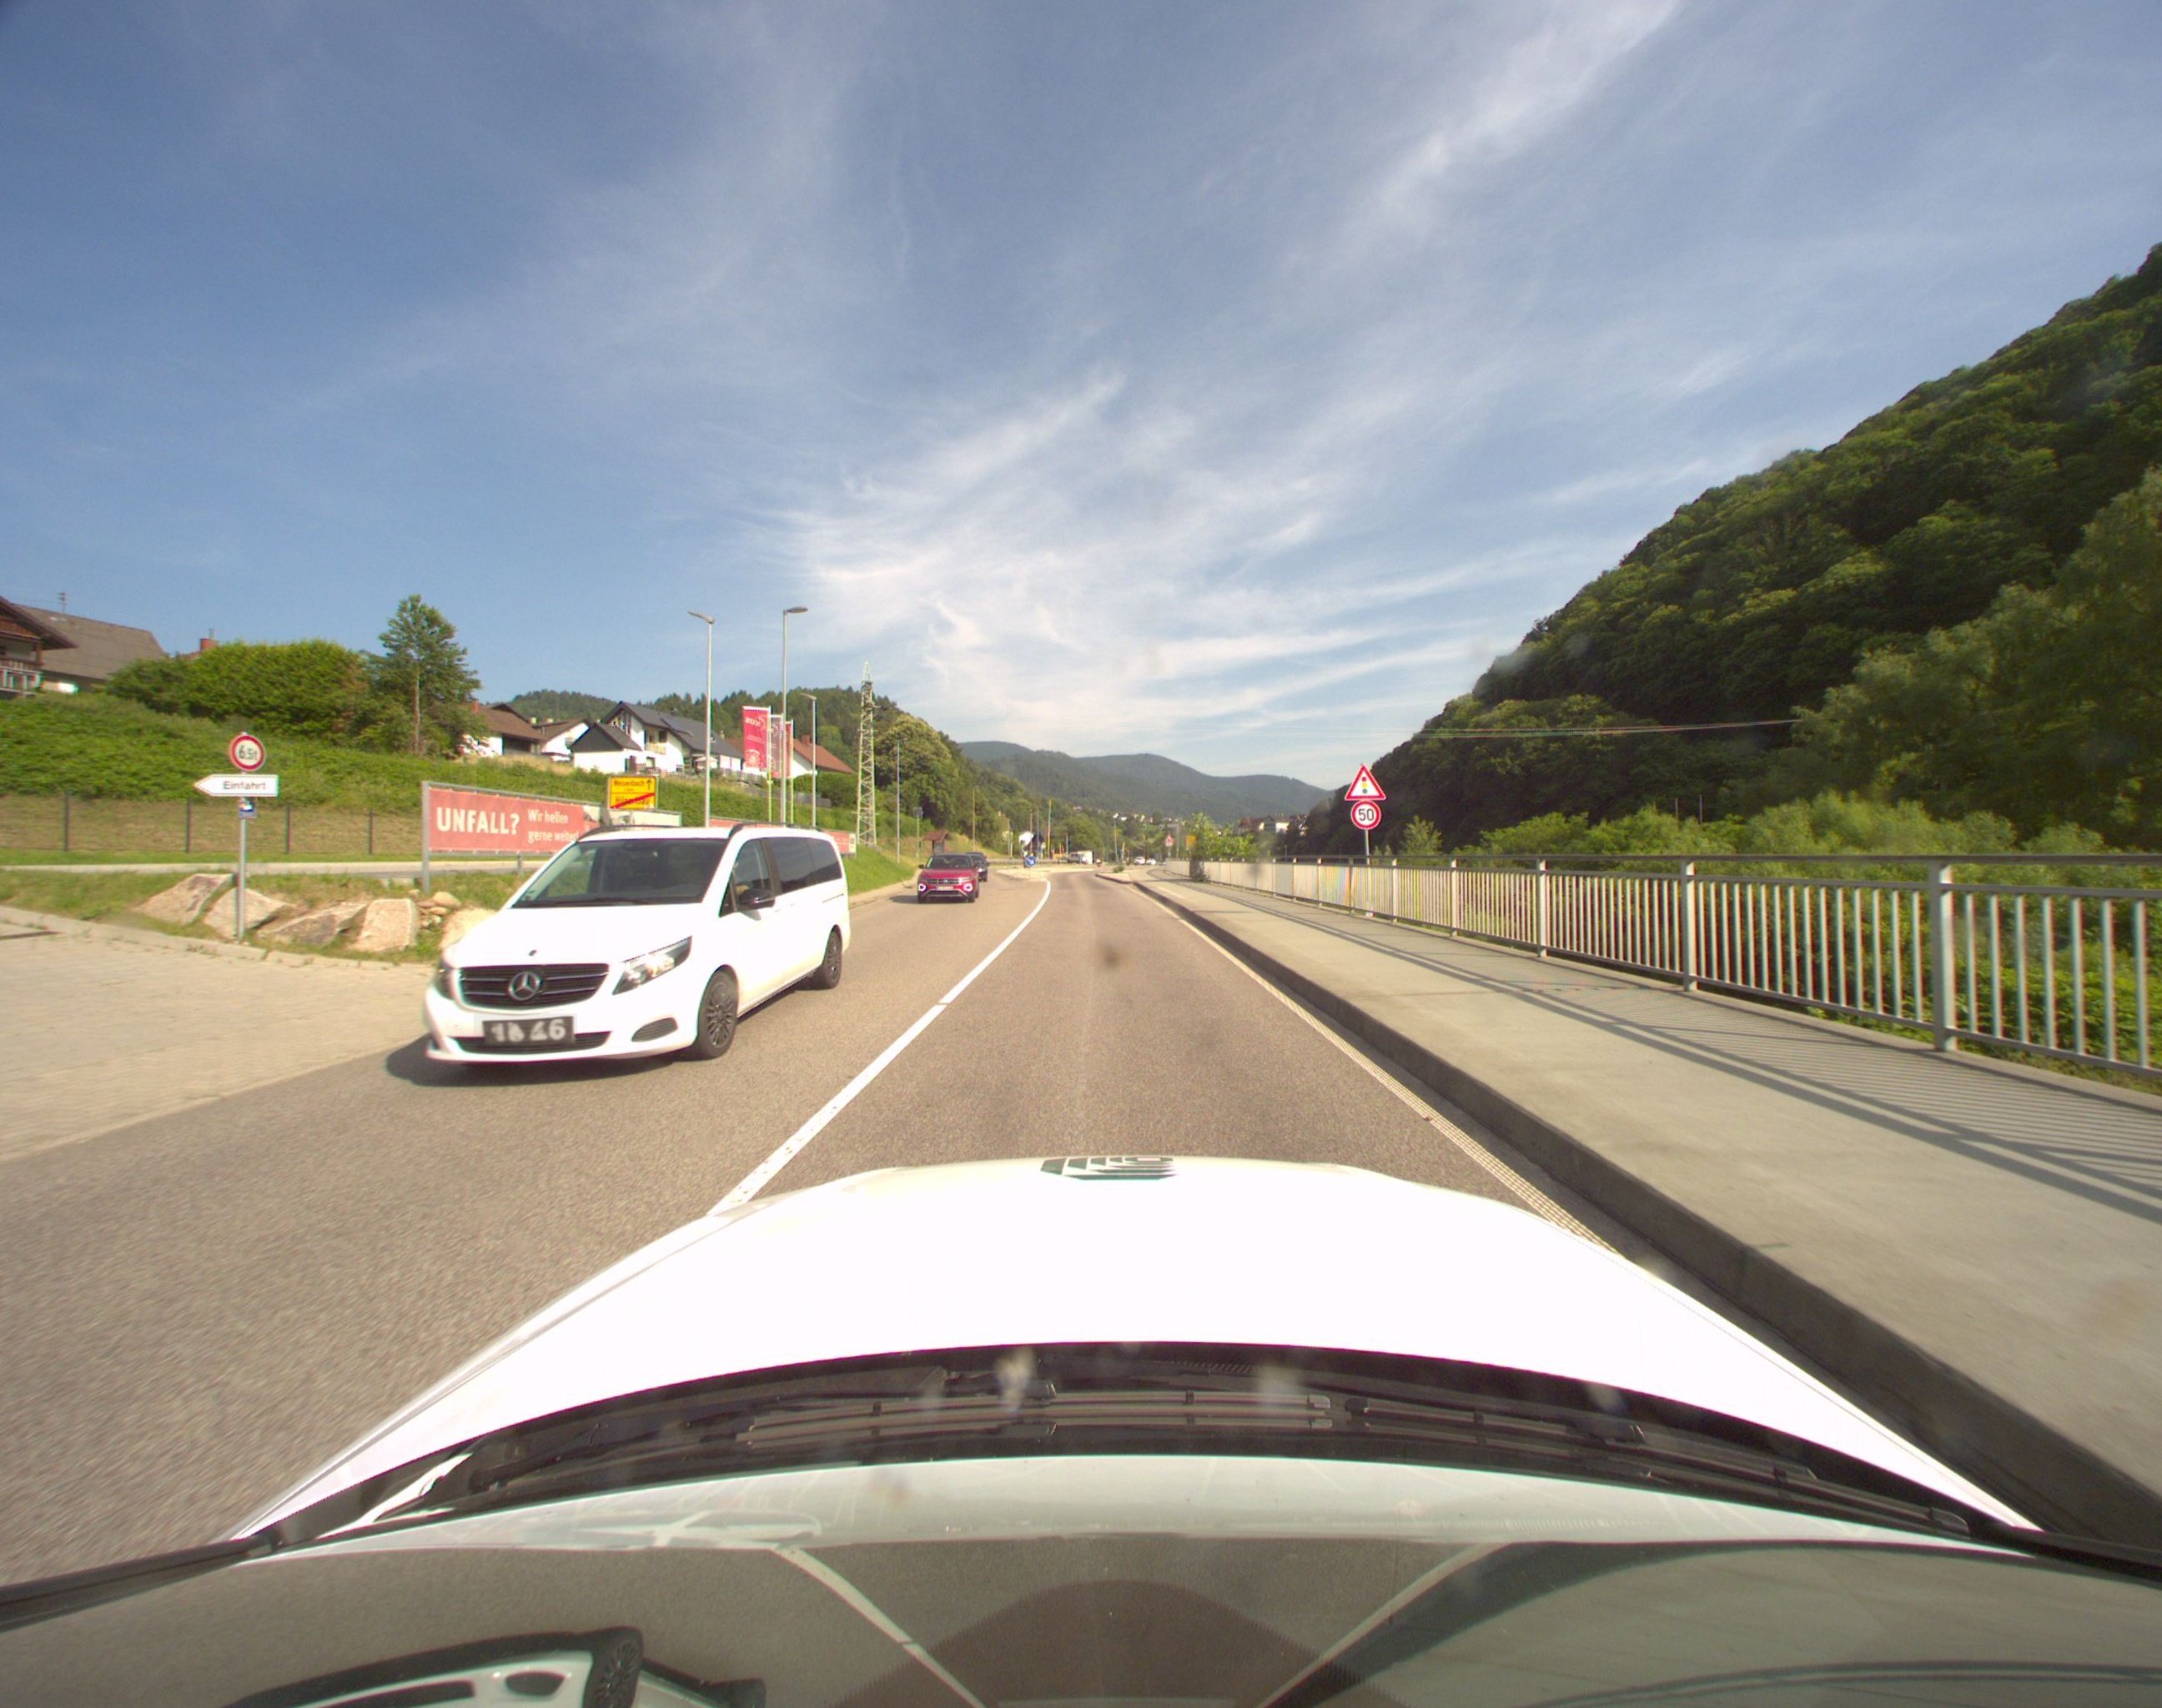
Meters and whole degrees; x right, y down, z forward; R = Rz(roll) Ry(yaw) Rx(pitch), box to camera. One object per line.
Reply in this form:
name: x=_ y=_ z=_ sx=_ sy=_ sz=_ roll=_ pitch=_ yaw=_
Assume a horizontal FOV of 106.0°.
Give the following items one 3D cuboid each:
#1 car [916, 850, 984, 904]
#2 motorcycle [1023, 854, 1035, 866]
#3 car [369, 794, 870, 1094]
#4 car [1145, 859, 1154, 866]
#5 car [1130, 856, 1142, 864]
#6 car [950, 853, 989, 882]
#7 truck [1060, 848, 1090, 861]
car: x=-4.189 y=0.679 z=26.676 sx=1.702 sy=1.584 sz=4.154 roll=-1 pitch=0 yaw=-3
motorcycle: x=-5.282 y=0.643 z=82.574 sx=0.895 sy=1.183 sz=2.297 roll=0 pitch=0 yaw=-11
car: x=-3.712 y=0.579 z=8.000 sx=1.891 sy=1.887 sz=5.293 roll=-2 pitch=0 yaw=-1
car: x=15.209 y=1.772 z=180.010 sx=1.775 sy=1.400 sz=4.830 roll=1 pitch=1 yaw=2
car: x=11.054 y=1.204 z=163.460 sx=1.751 sy=1.560 sz=4.015 roll=-1 pitch=-2 yaw=14
car: x=-5.959 y=0.685 z=43.959 sx=1.772 sy=1.407 sz=4.265 roll=-1 pitch=0 yaw=-4
truck: x=-1.138 y=0.086 z=152.809 sx=5.929 sy=2.266 sz=2.012 roll=3 pitch=1 yaw=45
